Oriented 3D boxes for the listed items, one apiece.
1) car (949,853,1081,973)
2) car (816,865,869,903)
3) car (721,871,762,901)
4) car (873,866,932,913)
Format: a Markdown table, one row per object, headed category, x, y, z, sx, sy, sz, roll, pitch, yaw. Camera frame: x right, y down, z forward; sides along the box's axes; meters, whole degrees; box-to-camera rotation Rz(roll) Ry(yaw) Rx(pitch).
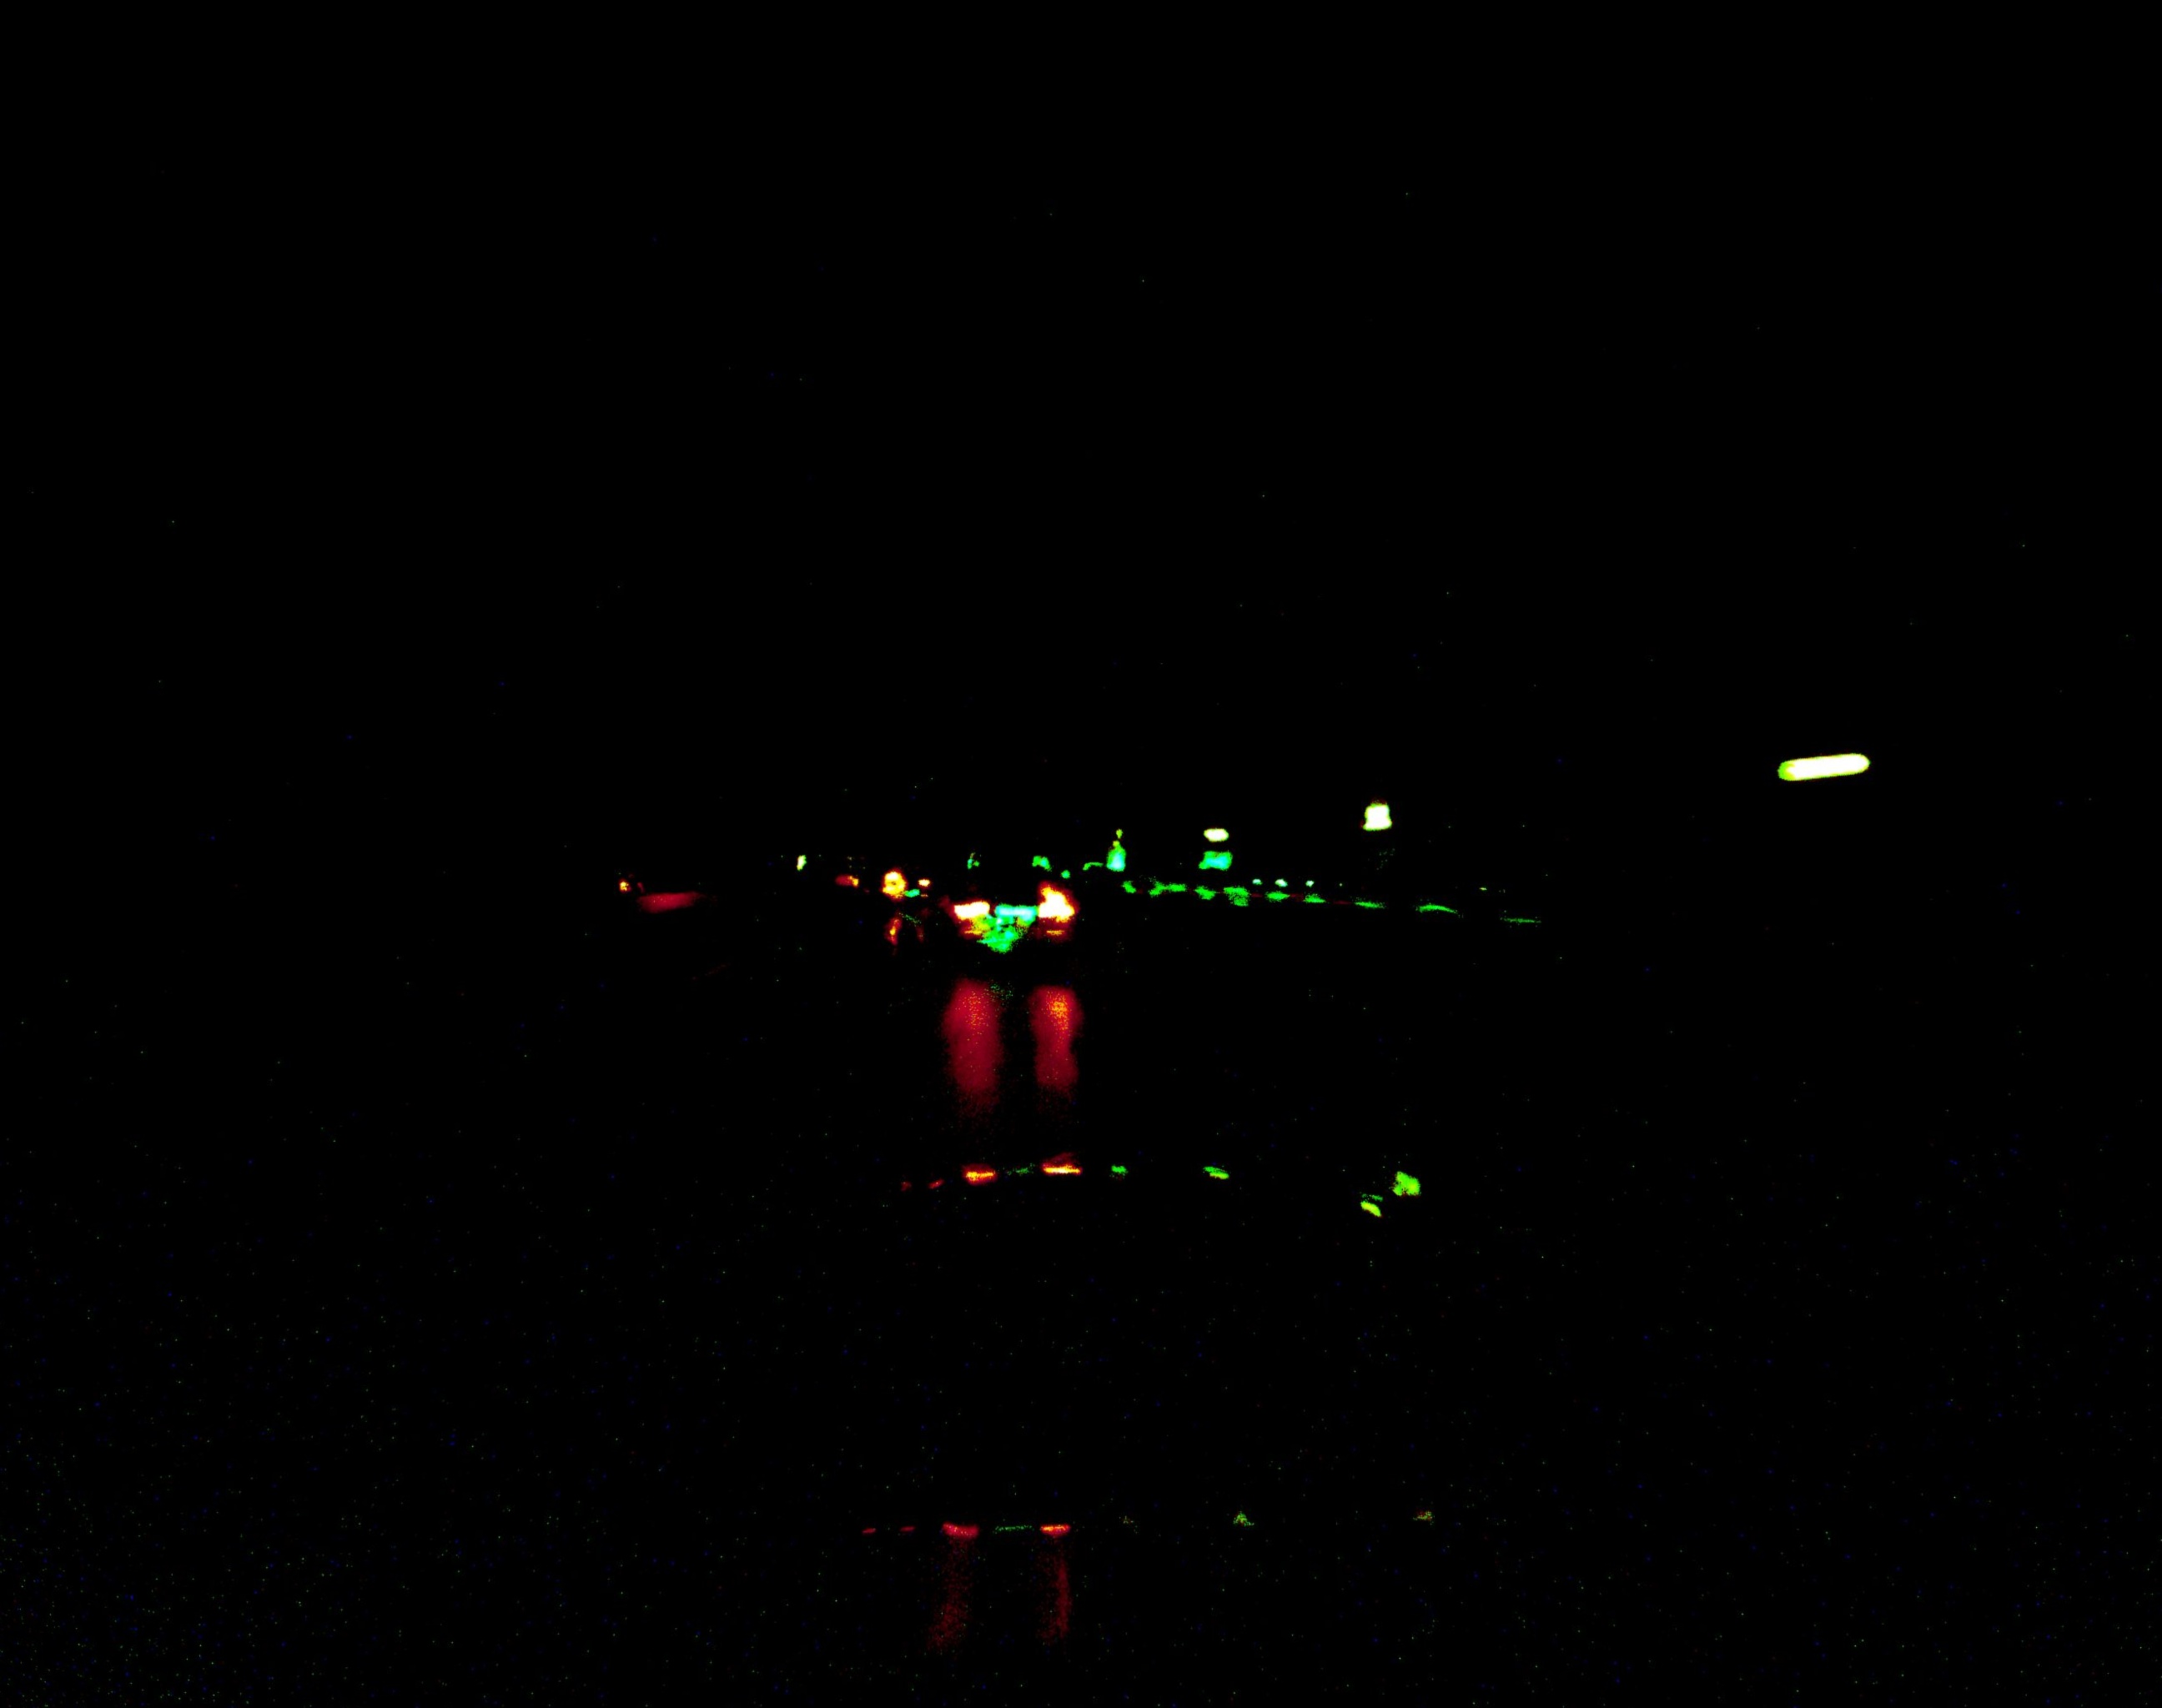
| category | x | y | z | sx | sy | sz | roll | pitch | yaw |
| --- | --- | --- | --- | --- | --- | --- | --- | --- | --- |
| car | -1.205 | 0.865 | 13.659 | 1.859 | 1.647 | 4.057 | -1 | -1 | -8 |
| car | -13.370 | 1.671 | 45.490 | 1.907 | 2.041 | 4.006 | 1 | -2 | -30 |
| car | -23.601 | 2.184 | 56.574 | 1.909 | 1.998 | 4.003 | 0 | -1 | -34 |
| car | -7.089 | 1.355 | 32.096 | 1.900 | 1.721 | 4.020 | 0 | -2 | -18 |
